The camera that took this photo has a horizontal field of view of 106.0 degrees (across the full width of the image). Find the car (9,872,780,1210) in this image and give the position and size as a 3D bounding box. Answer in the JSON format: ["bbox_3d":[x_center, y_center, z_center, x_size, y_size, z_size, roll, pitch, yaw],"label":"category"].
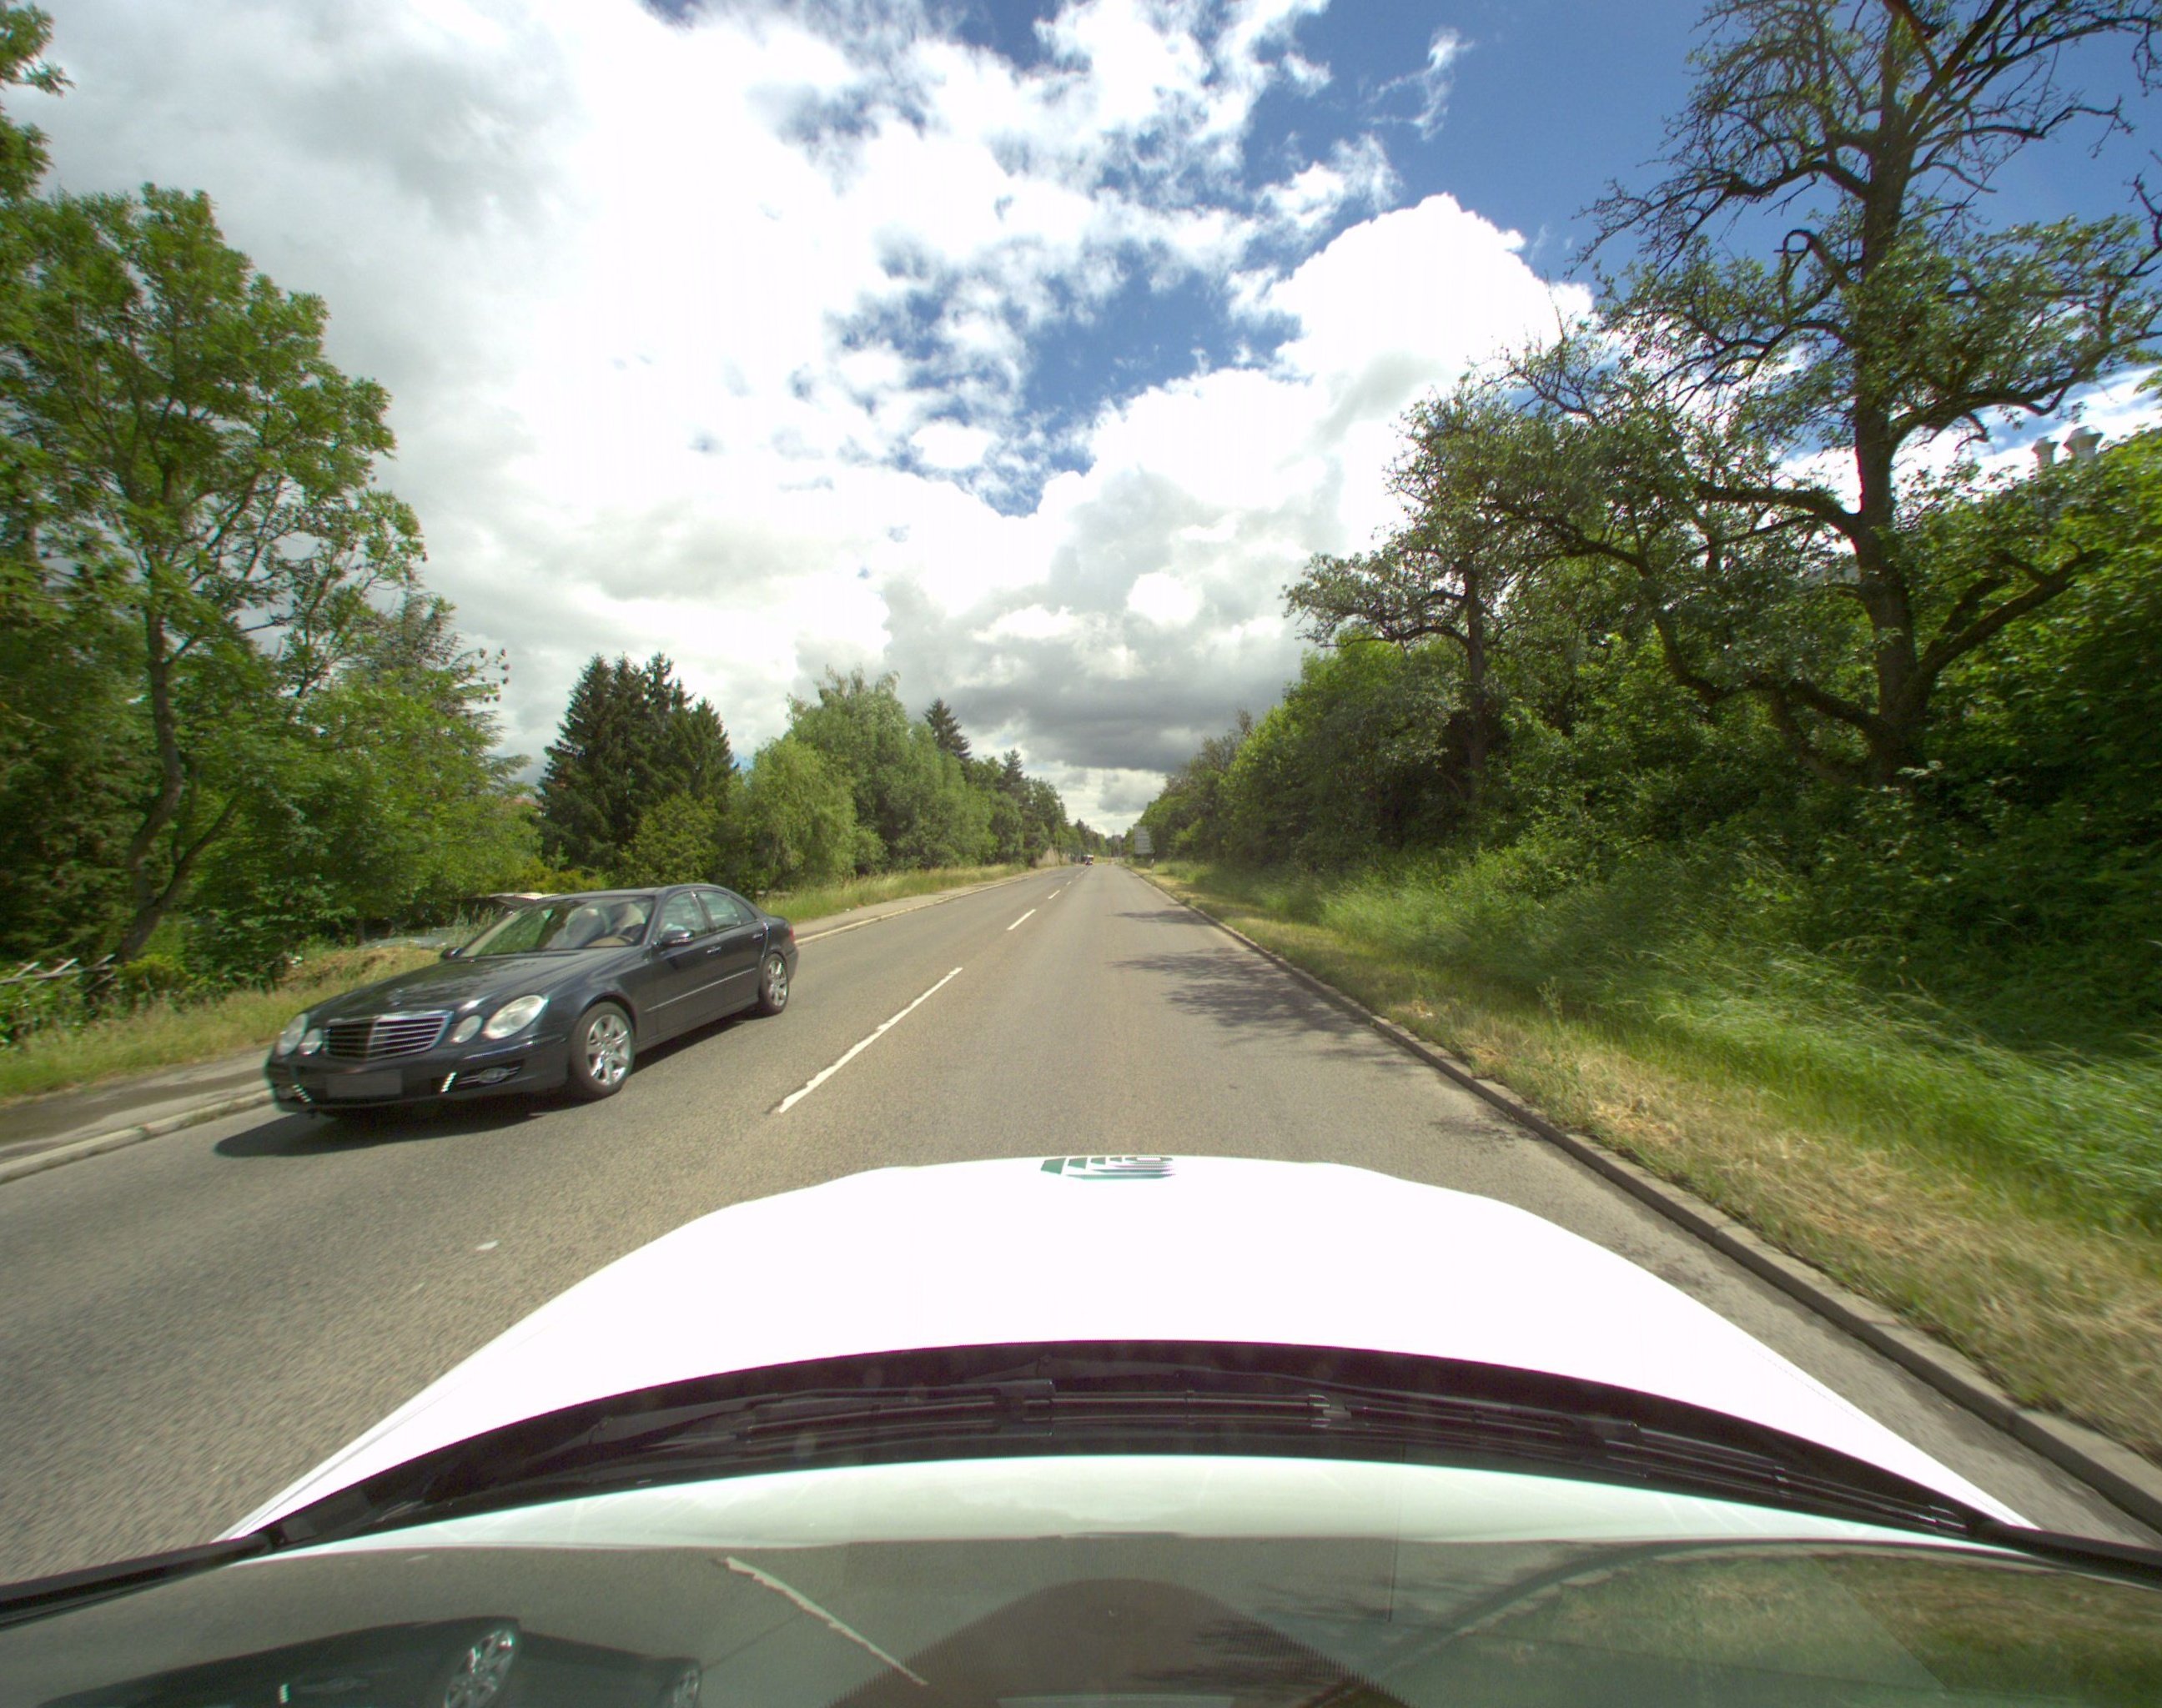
[{"bbox_3d":[-4.078,0.927,6.141,1.778,1.334,4.622,-4,0,0],"label":"car"}]

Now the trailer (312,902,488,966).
[{"bbox_3d":[-20.964,2.456,25.165,3.962,1.555,2.006,-4,-1,10],"label":"trailer"}]

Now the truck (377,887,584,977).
[{"bbox_3d":[-21.011,2.712,28.592,6.165,2.609,2.006,-4,-1,10],"label":"truck"}]

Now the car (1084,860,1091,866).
[{"bbox_3d":[1.734,2.382,220.056,1.745,1.464,4.001,-3,-1,1],"label":"car"}]
